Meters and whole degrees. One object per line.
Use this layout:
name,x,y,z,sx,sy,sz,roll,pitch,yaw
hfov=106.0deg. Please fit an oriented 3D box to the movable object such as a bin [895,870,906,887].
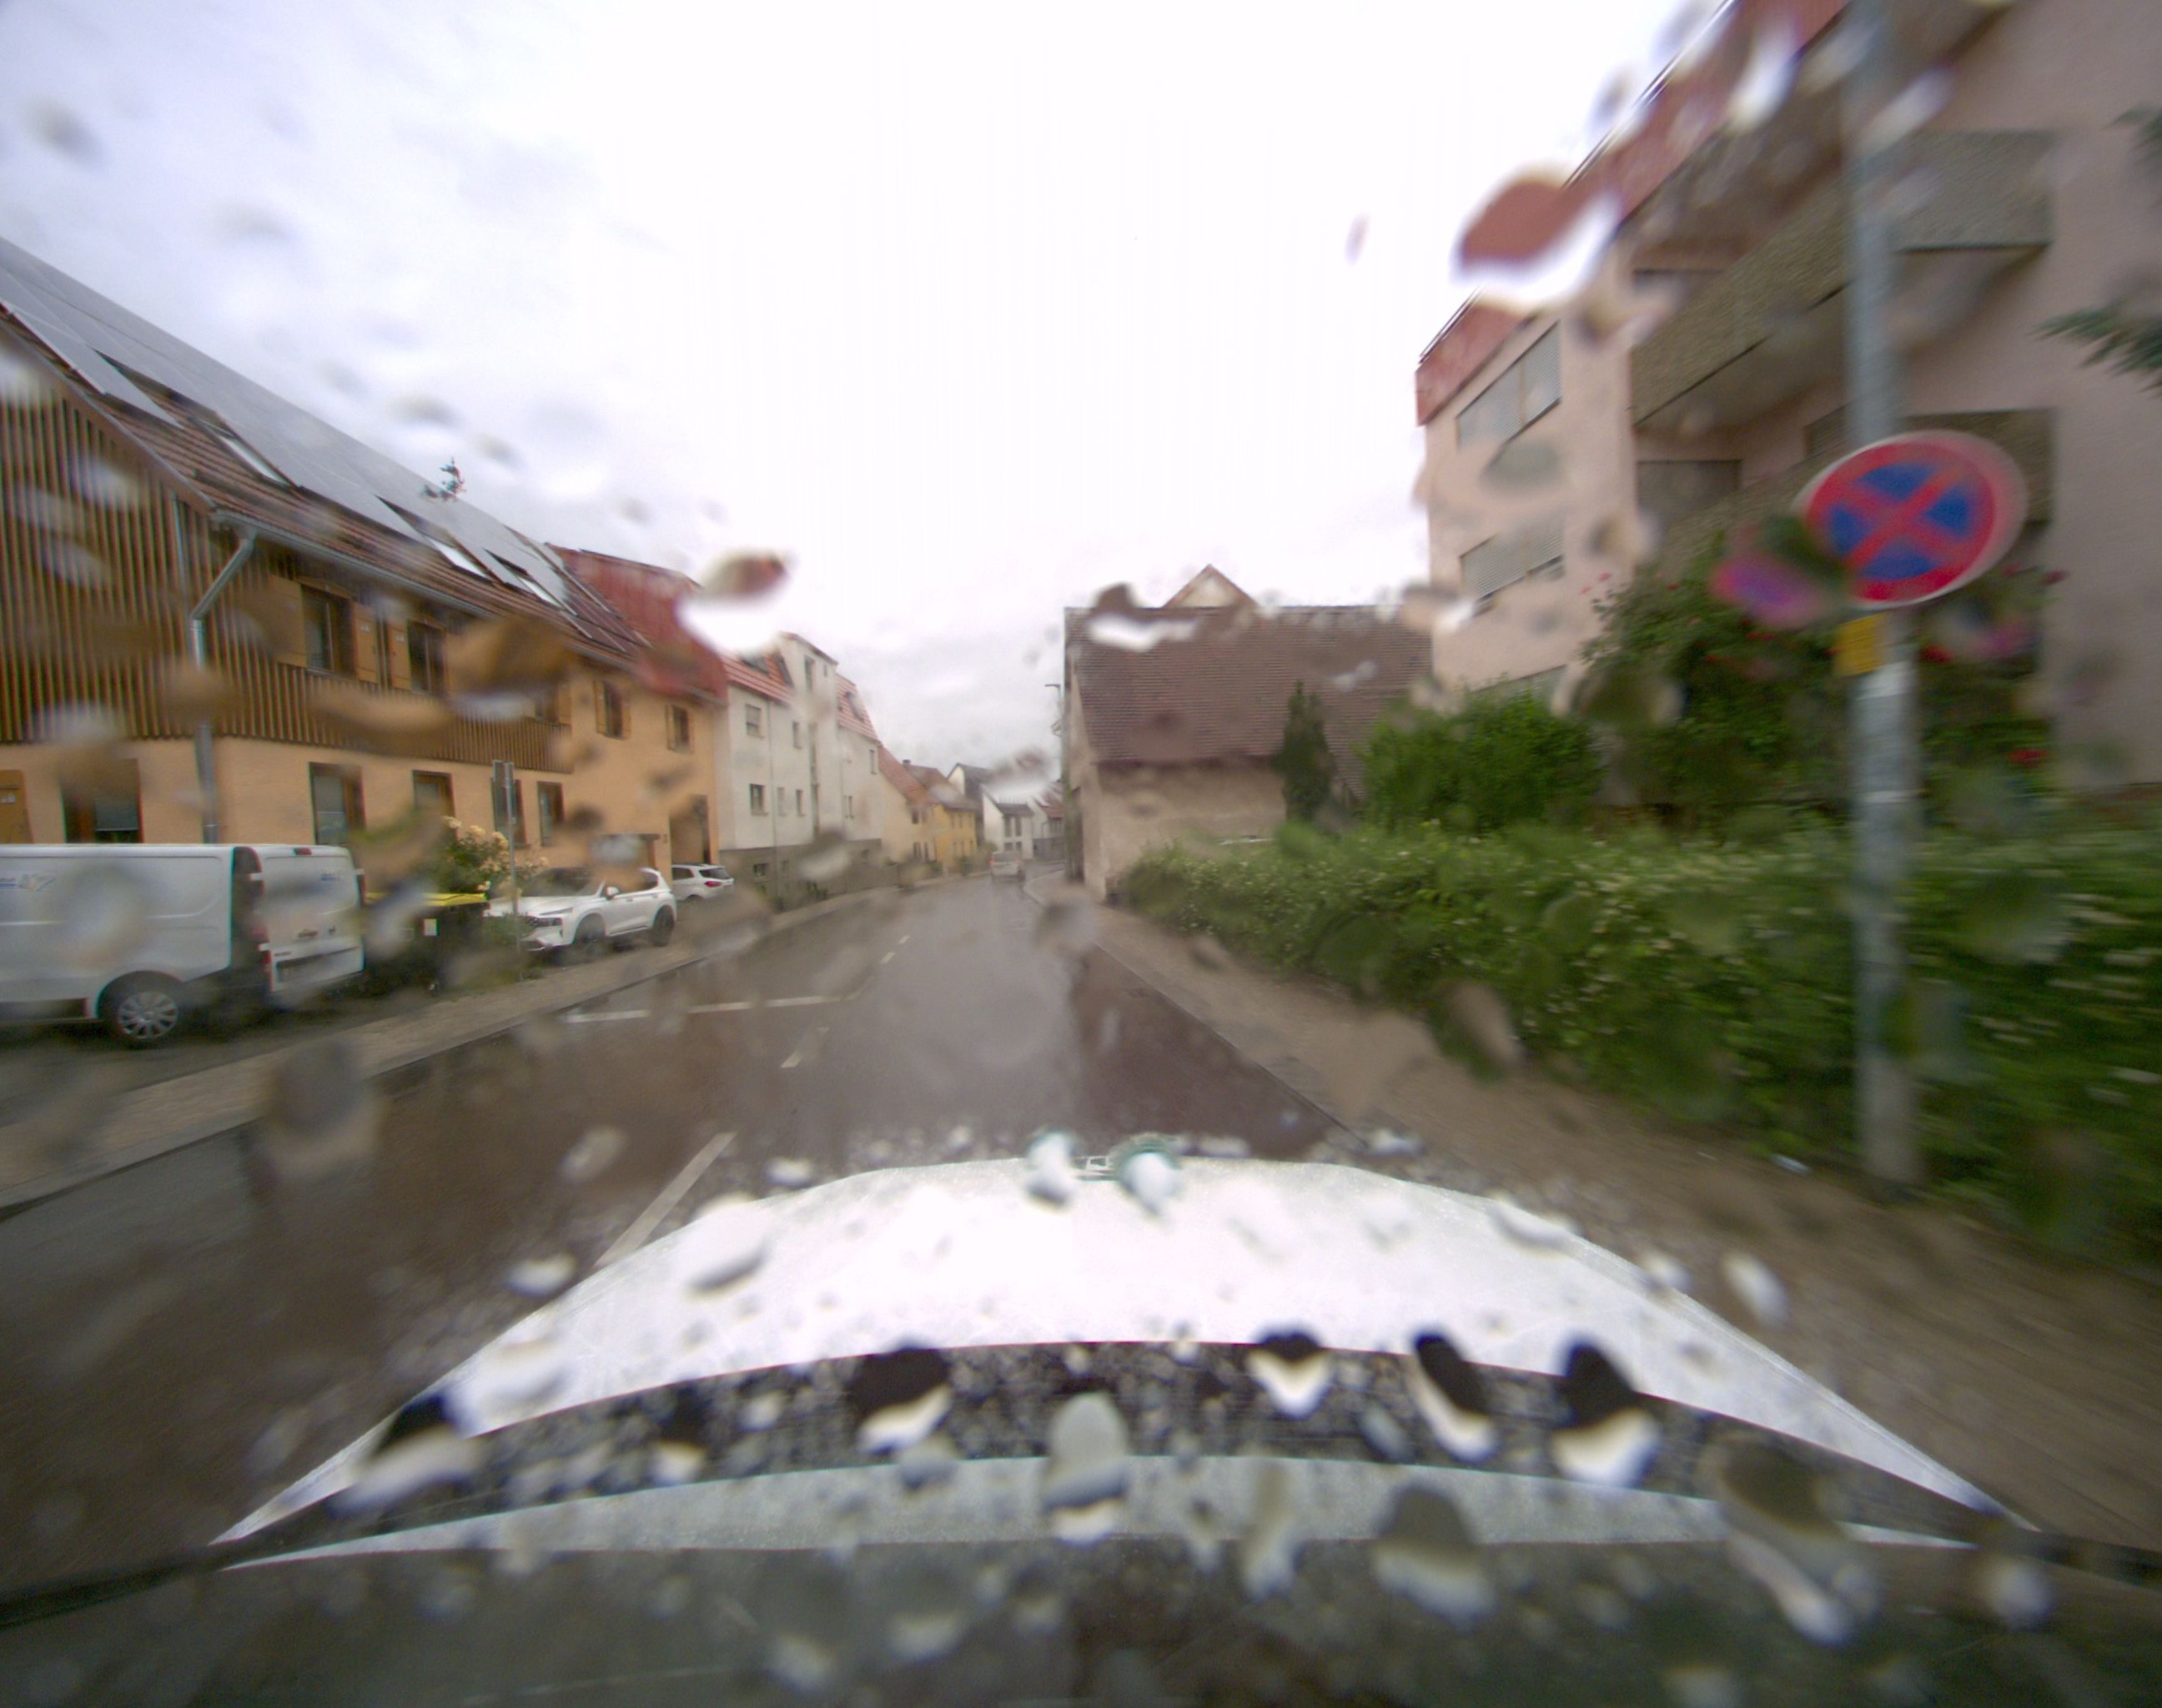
movable object such as a bin,-10.287,1.386,46.370,0.504,0.922,0.579,-1,0,-1

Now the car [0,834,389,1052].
car,-10.395,0.808,8.394,4.517,1.979,1.990,1,1,-16

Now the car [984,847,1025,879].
car,-4.740,0.538,50.866,2.189,1.851,4.301,-3,0,-2

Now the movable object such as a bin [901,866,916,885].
movable object such as a bin,-10.146,1.264,47.901,0.679,1.045,0.661,-1,0,1

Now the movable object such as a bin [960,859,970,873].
movable object such as a bin,-9.247,0.969,64.850,0.657,1.056,0.764,0,0,3

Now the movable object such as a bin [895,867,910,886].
movable object such as a bin,-10.311,1.287,47.109,0.679,1.066,0.695,-1,0,1

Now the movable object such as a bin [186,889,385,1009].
movable object such as a bin,-10.198,1.180,10.516,1.507,1.368,0.993,-2,0,-10

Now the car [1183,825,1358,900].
car,5.137,0.202,22.381,4.214,1.649,1.898,-4,1,-7

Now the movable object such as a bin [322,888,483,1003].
movable object such as a bin,-8.927,1.165,10.781,1.286,1.368,0.993,-1,0,-10

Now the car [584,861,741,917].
car,-13.138,1.065,25.760,3.977,1.670,1.876,0,0,-3

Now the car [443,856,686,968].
car,-9.540,0.946,15.604,1.810,1.706,4.612,-3,0,-3
